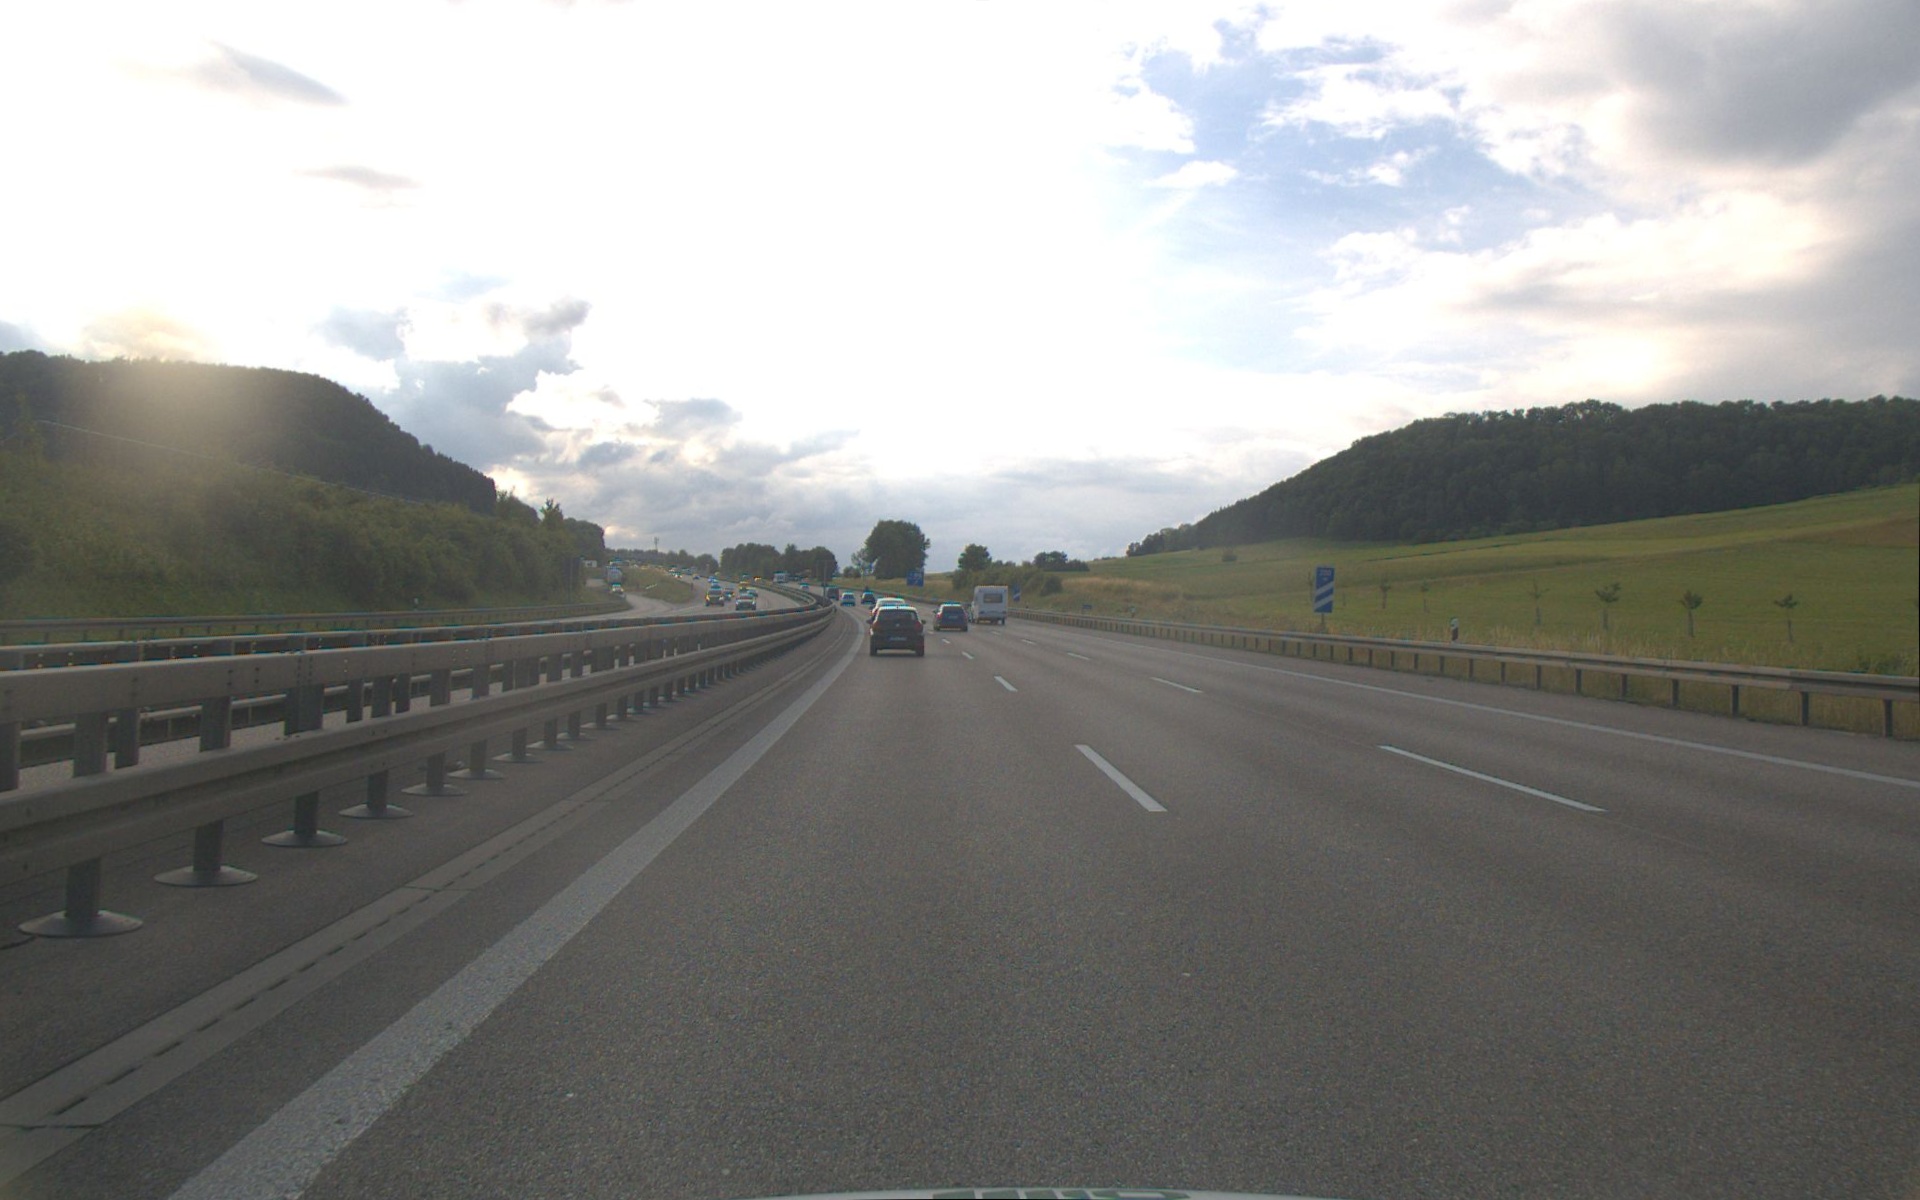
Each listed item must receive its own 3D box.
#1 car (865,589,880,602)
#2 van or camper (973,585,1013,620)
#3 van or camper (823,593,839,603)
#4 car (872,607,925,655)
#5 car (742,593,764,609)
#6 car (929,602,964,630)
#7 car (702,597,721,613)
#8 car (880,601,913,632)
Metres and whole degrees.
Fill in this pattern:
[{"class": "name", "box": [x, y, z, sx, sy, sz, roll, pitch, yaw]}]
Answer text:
[{"class": "car", "box": [-11.837, -0.589, 222.980, 1.918, 1.601, 3.998, 1, 0, -2]}, {"class": "van or camper", "box": [2.240, 0.168, 112.467, 2.496, 2.278, 5.328, 1, 0, -1]}, {"class": "van or camper", "box": [-19.135, -0.275, 245.162, 1.926, 1.458, 4.000, 1, 0, 0]}, {"class": "car", "box": [-1.903, 0.913, 50.248, 1.507, 1.371, 3.674, 1, 0, -3]}, {"class": "car", "box": [-19.840, 0.071, 158.754, 1.955, 1.455, 4.582, 1, 0, -6]}, {"class": "car", "box": [-0.745, 0.836, 90.070, 1.732, 1.458, 3.997, 1, 0, -3]}, {"class": "car", "box": [-27.377, 0.564, 182.283, 1.741, 1.624, 3.997, 1, 0, -4]}, {"class": "car", "box": [-3.033, 0.784, 78.306, 1.534, 1.404, 3.998, 1, 0, -3]}]
